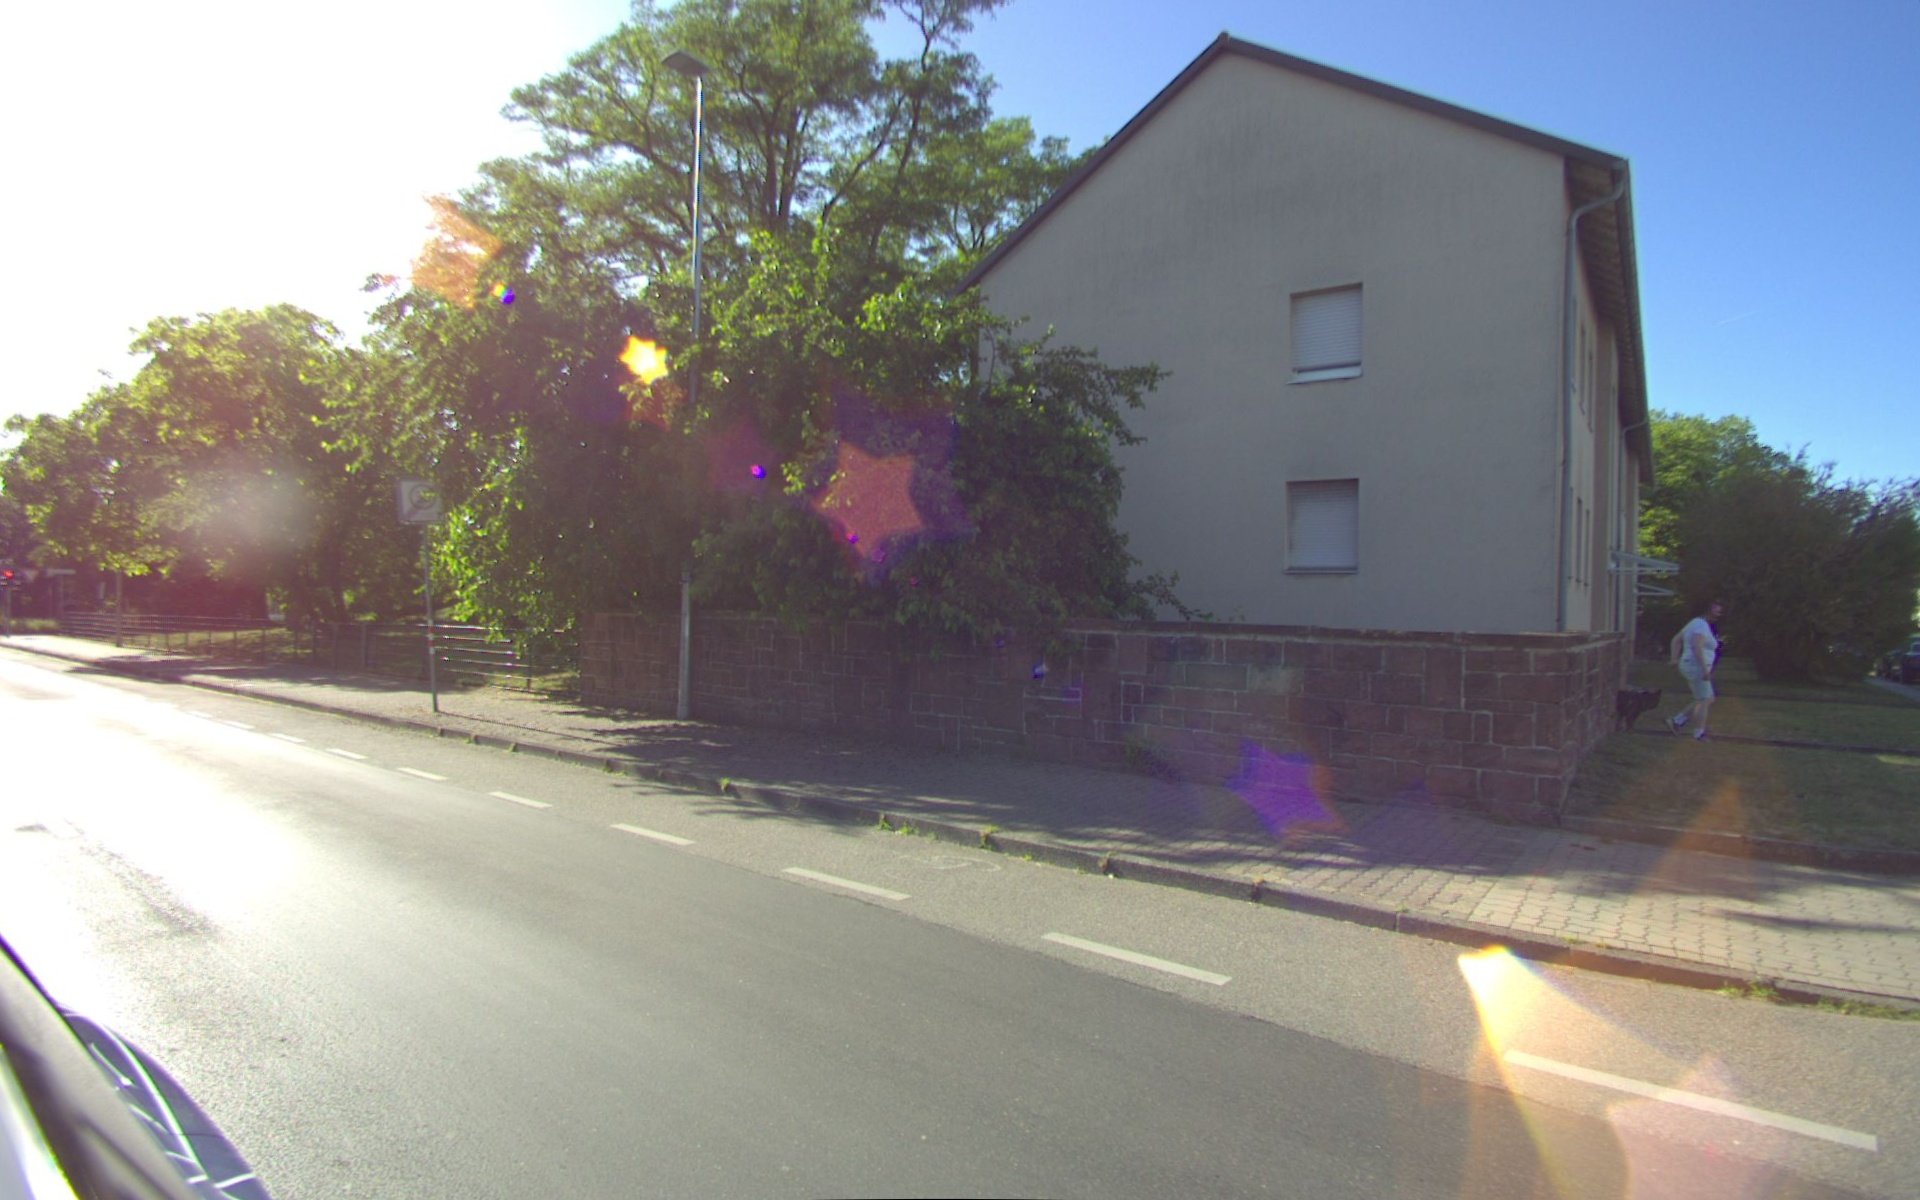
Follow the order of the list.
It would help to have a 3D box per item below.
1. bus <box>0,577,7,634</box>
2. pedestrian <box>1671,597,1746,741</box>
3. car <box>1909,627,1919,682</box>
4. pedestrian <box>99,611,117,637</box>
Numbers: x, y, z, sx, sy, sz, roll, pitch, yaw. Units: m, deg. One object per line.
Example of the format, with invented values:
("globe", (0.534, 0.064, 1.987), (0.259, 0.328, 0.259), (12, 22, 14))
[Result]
("bus", (-58.287, 0.418, 54.103), (12.314, 3.122, 3.127), (-1, 0, 3))
("pedestrian", (8.546, 0.762, 11.561), (0.638, 1.565, 0.776), (-1, -1, 37))
("car", (30.625, 1.647, 31.109), (1.869, 1.626, 3.728), (-2, -2, 40))
("pedestrian", (-54.385, 1.549, 64.601), (0.647, 1.646, 0.790), (-1, -1, 40))
